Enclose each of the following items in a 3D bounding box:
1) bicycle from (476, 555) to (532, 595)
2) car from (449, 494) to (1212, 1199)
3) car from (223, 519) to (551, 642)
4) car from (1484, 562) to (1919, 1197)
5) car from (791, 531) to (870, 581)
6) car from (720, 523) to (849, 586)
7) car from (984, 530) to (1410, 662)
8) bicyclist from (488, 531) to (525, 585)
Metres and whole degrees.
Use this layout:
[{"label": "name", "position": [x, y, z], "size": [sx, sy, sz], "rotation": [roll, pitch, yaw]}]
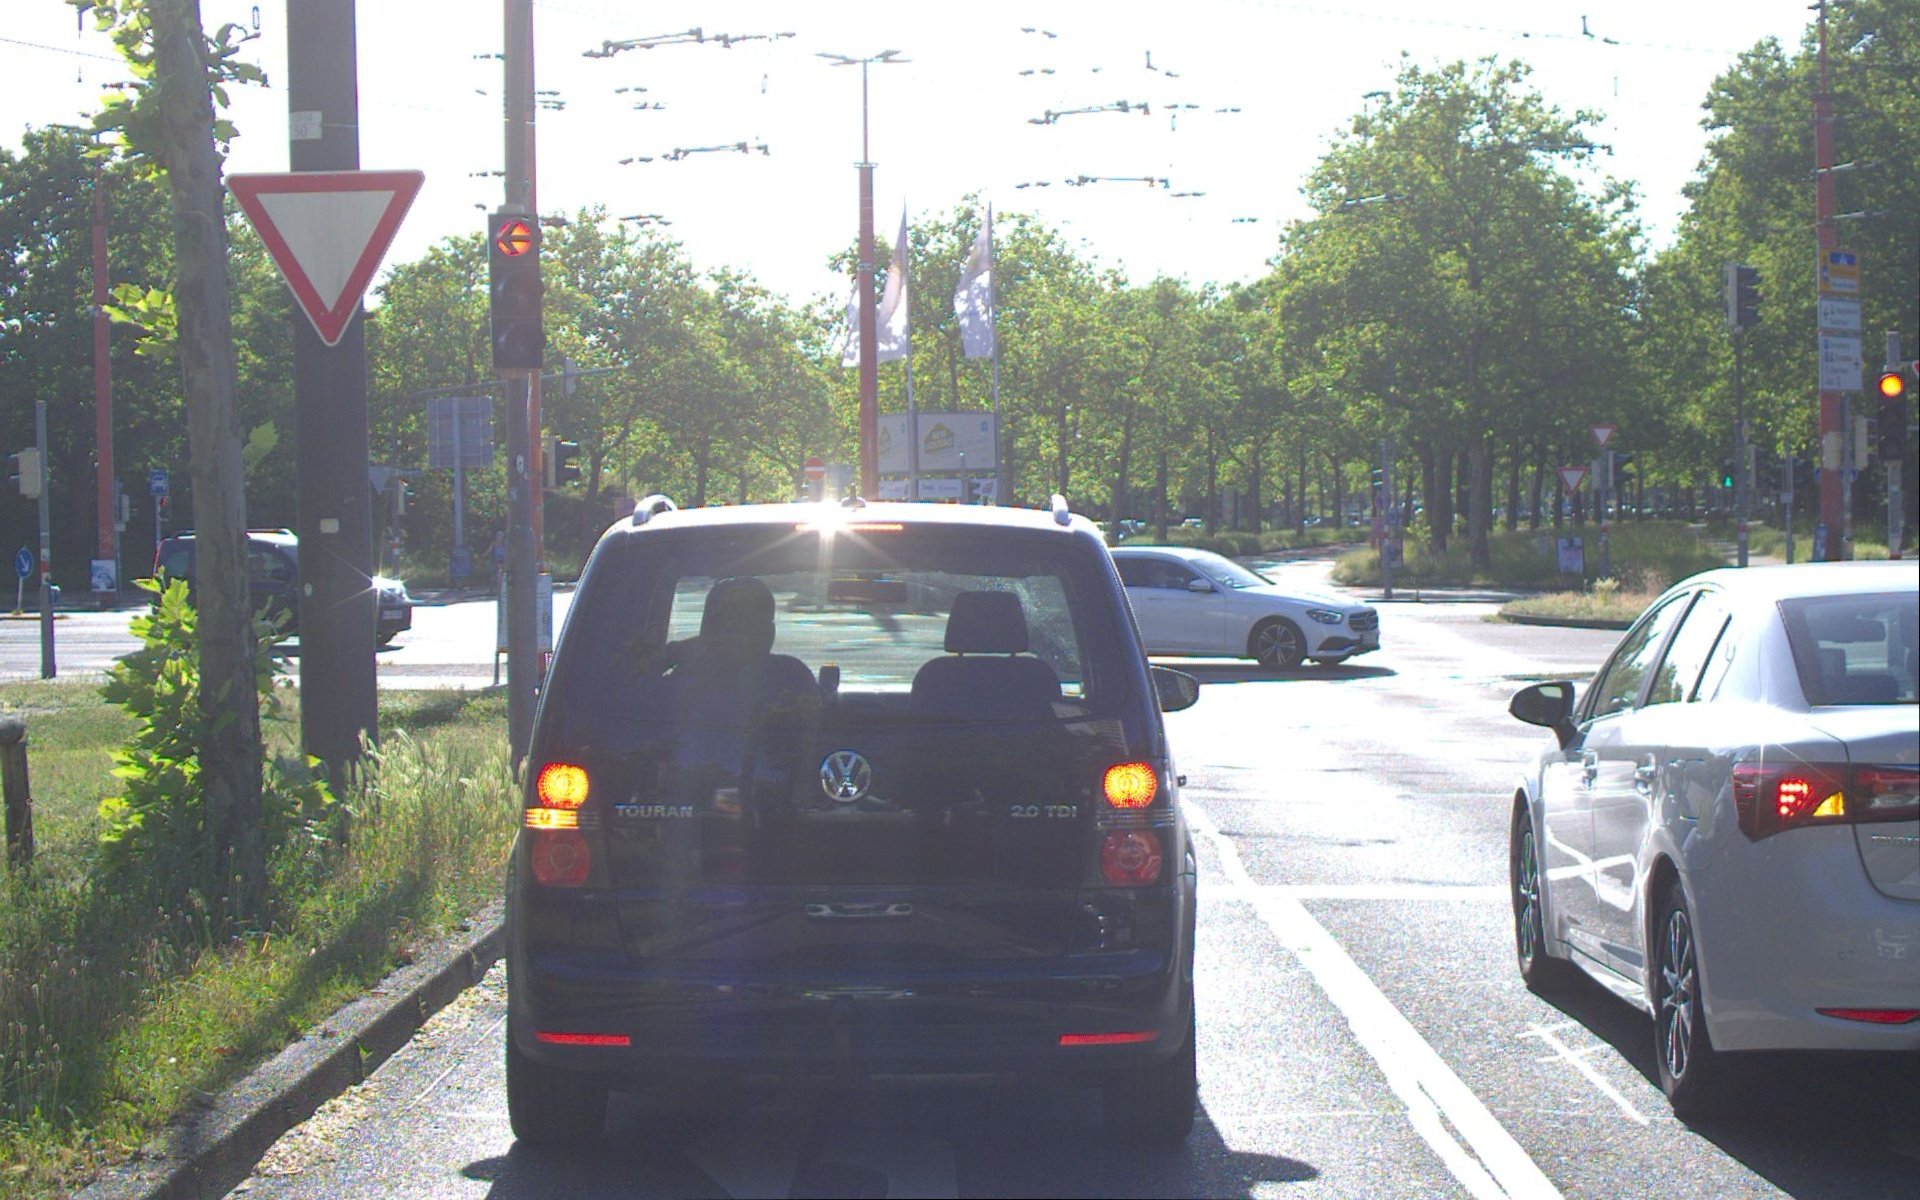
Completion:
[{"label": "bicycle", "position": [-12.523, -0.687, 94.418], "size": [0.735, 1.086, 1.959], "rotation": [0, 1, 18]}, {"label": "car", "position": [-0.317, 0.546, 9.878], "size": [1.737, 1.635, 4.000], "rotation": [0, 1, -1]}, {"label": "car", "position": [-8.846, -0.317, 53.023], "size": [4.787, 1.829, 1.911], "rotation": [0, 1, 27]}, {"label": "car", "position": [2.686, 0.629, 10.079], "size": [1.715, 1.449, 4.144], "rotation": [0, 1, 1]}, {"label": "car", "position": [-4.449, -1.520, 118.517], "size": [1.994, 1.679, 4.828], "rotation": [0, 1, 7]}, {"label": "car", "position": [-4.800, -1.254, 94.576], "size": [1.995, 1.679, 4.825], "rotation": [0, 1, 17]}, {"label": "car", "position": [2.935, -0.072, 42.848], "size": [4.922, 1.569, 1.997], "rotation": [0, 1, 29]}, {"label": "bicyclist", "position": [-12.492, -1.156, 94.630], "size": [0.693, 1.452, 0.874], "rotation": [0, 1, 18]}]
